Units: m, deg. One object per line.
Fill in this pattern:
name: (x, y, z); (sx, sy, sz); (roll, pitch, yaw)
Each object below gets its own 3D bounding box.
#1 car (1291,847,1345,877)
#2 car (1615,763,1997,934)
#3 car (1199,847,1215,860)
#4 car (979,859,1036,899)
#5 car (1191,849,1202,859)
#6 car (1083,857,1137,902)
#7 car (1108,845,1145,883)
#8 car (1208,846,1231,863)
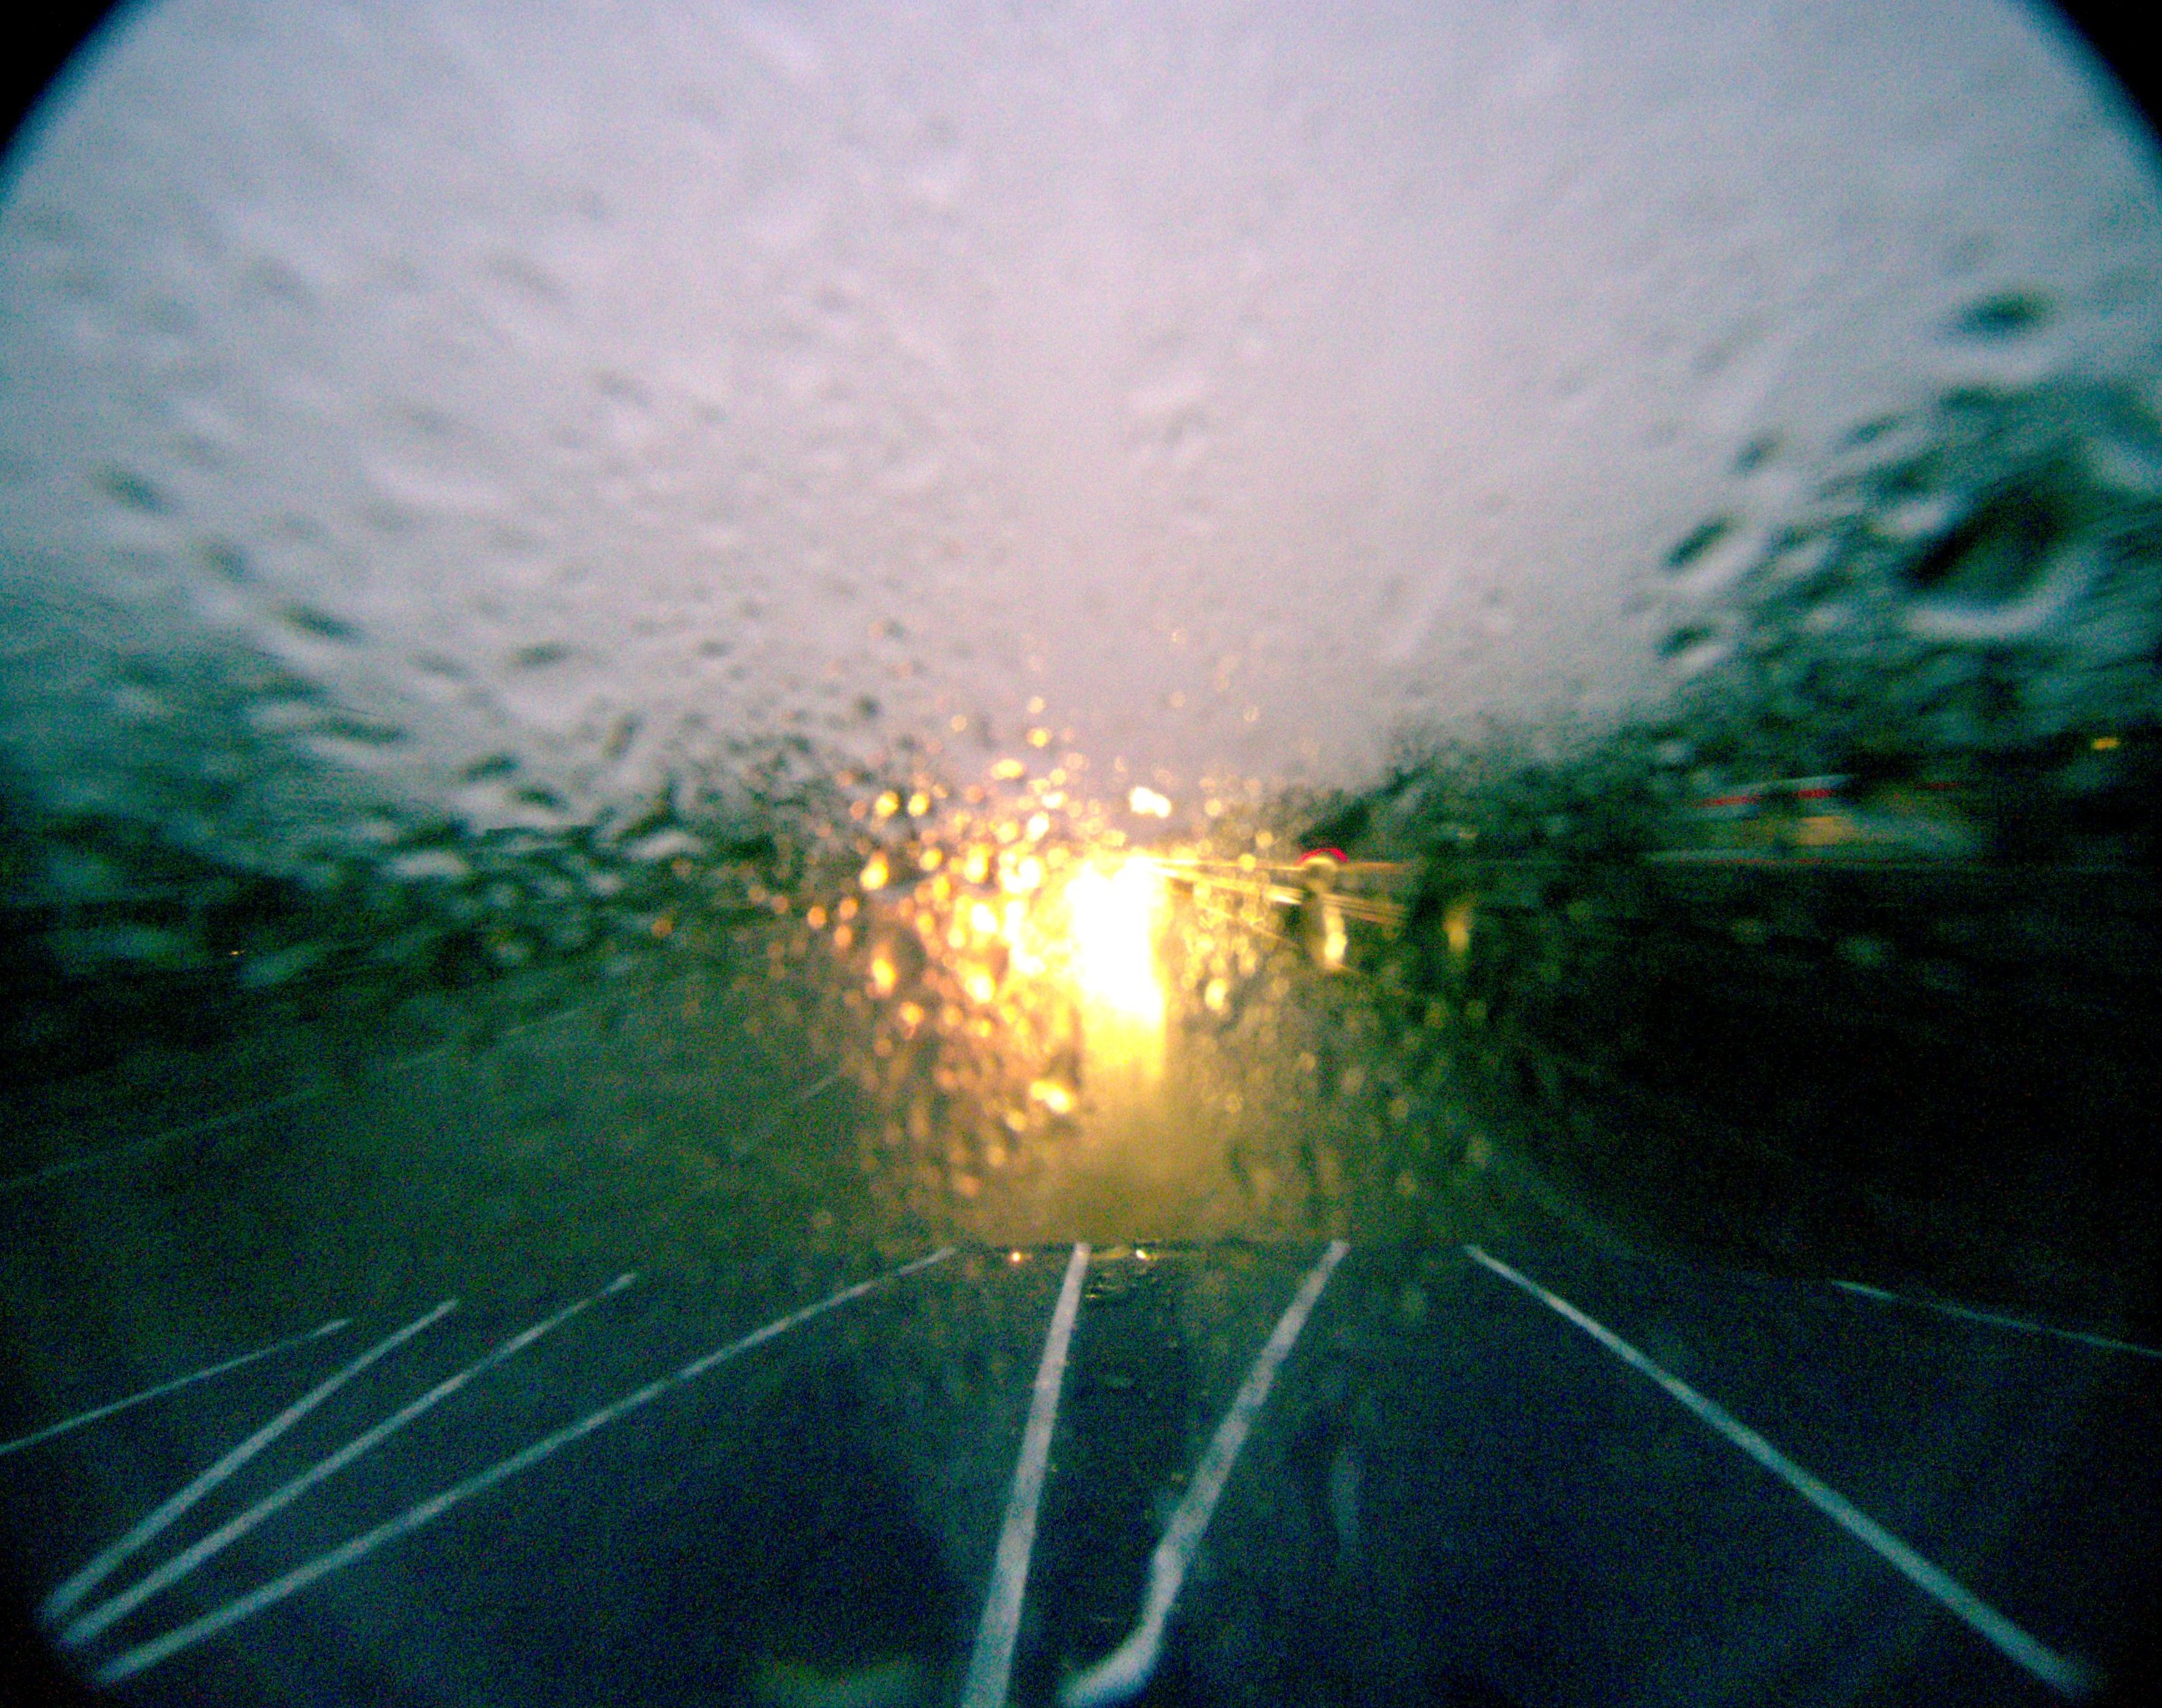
car: (13.285, 0.452, 42.882); (1.850, 1.519, 4.305); (-1, -1, 2)
car: (12.464, -0.084, 13.777); (1.850, 2.422, 5.417); (-2, 0, 2)
car: (19.842, -0.061, 120.022); (1.850, 1.903, 4.304); (-2, 0, 2)
car: (-3.090, 1.022, 32.671); (1.850, 1.521, 4.149); (-2, 0, 2)
car: (21.806, -0.092, 143.504); (1.849, 1.793, 3.996); (-2, 0, 10)
car: (1.115, 0.908, 29.263); (1.850, 1.521, 4.149); (-2, 0, 2)
car: (2.722, 0.554, 46.183); (1.796, 2.002, 3.723); (-5, 2, -1)
car: (15.802, 0.063, 86.804); (1.850, 1.903, 4.304); (-2, 0, 2)
